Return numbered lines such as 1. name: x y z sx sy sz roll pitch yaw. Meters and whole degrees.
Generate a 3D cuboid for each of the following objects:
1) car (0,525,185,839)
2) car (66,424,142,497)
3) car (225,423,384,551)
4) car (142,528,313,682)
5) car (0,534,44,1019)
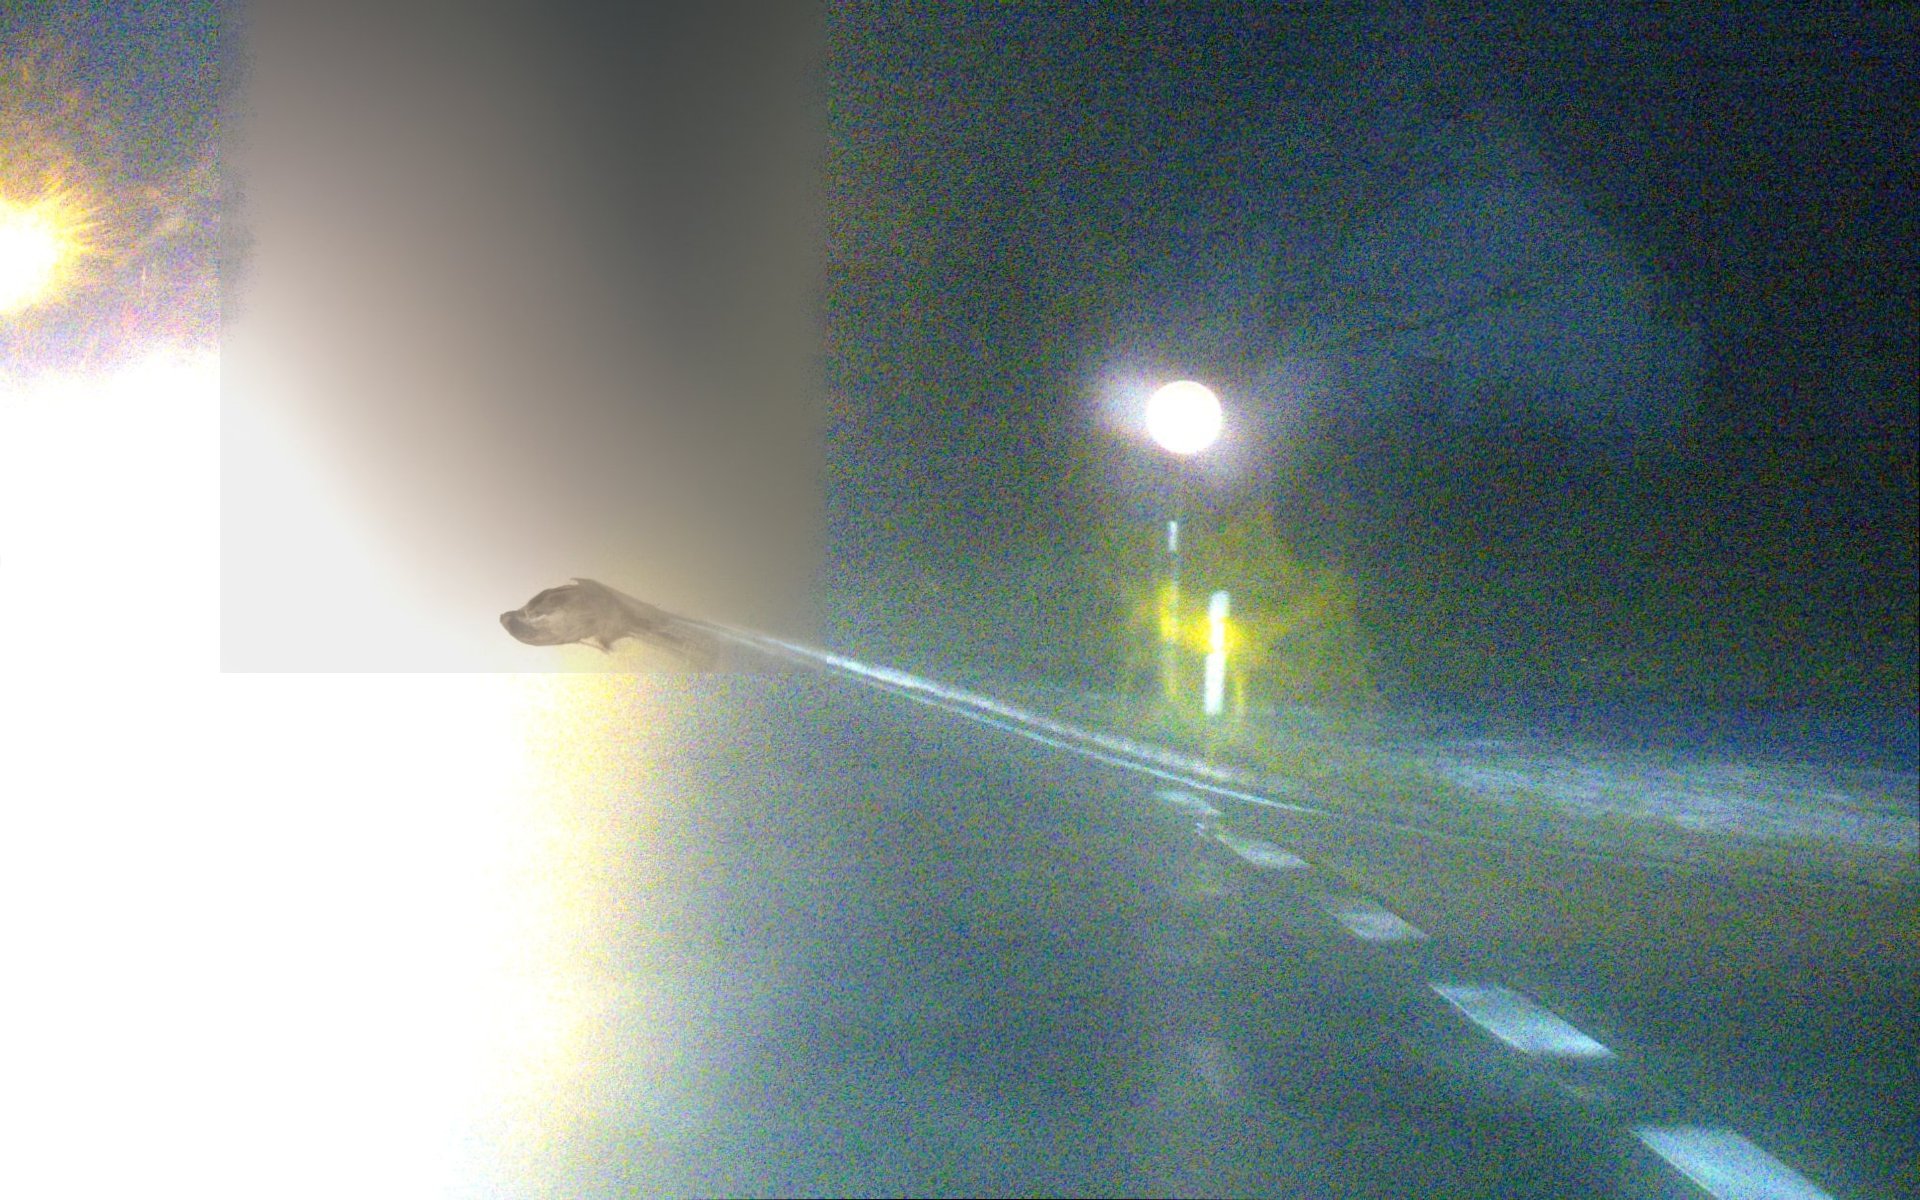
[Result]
1. car: -5.325 0.346 18.584 1.712 1.471 3.870 2 1 -6
2. car: -25.678 -4.154 103.061 1.993 2.007 4.001 2 0 -16
3. car: -14.308 -2.490 74.714 2.538 2.489 5.717 0 4 -19
4. car: -8.251 0.018 38.974 1.695 1.594 3.802 1 2 -9
5. car: -3.846 0.526 8.900 1.955 1.517 4.400 2 0 -3
